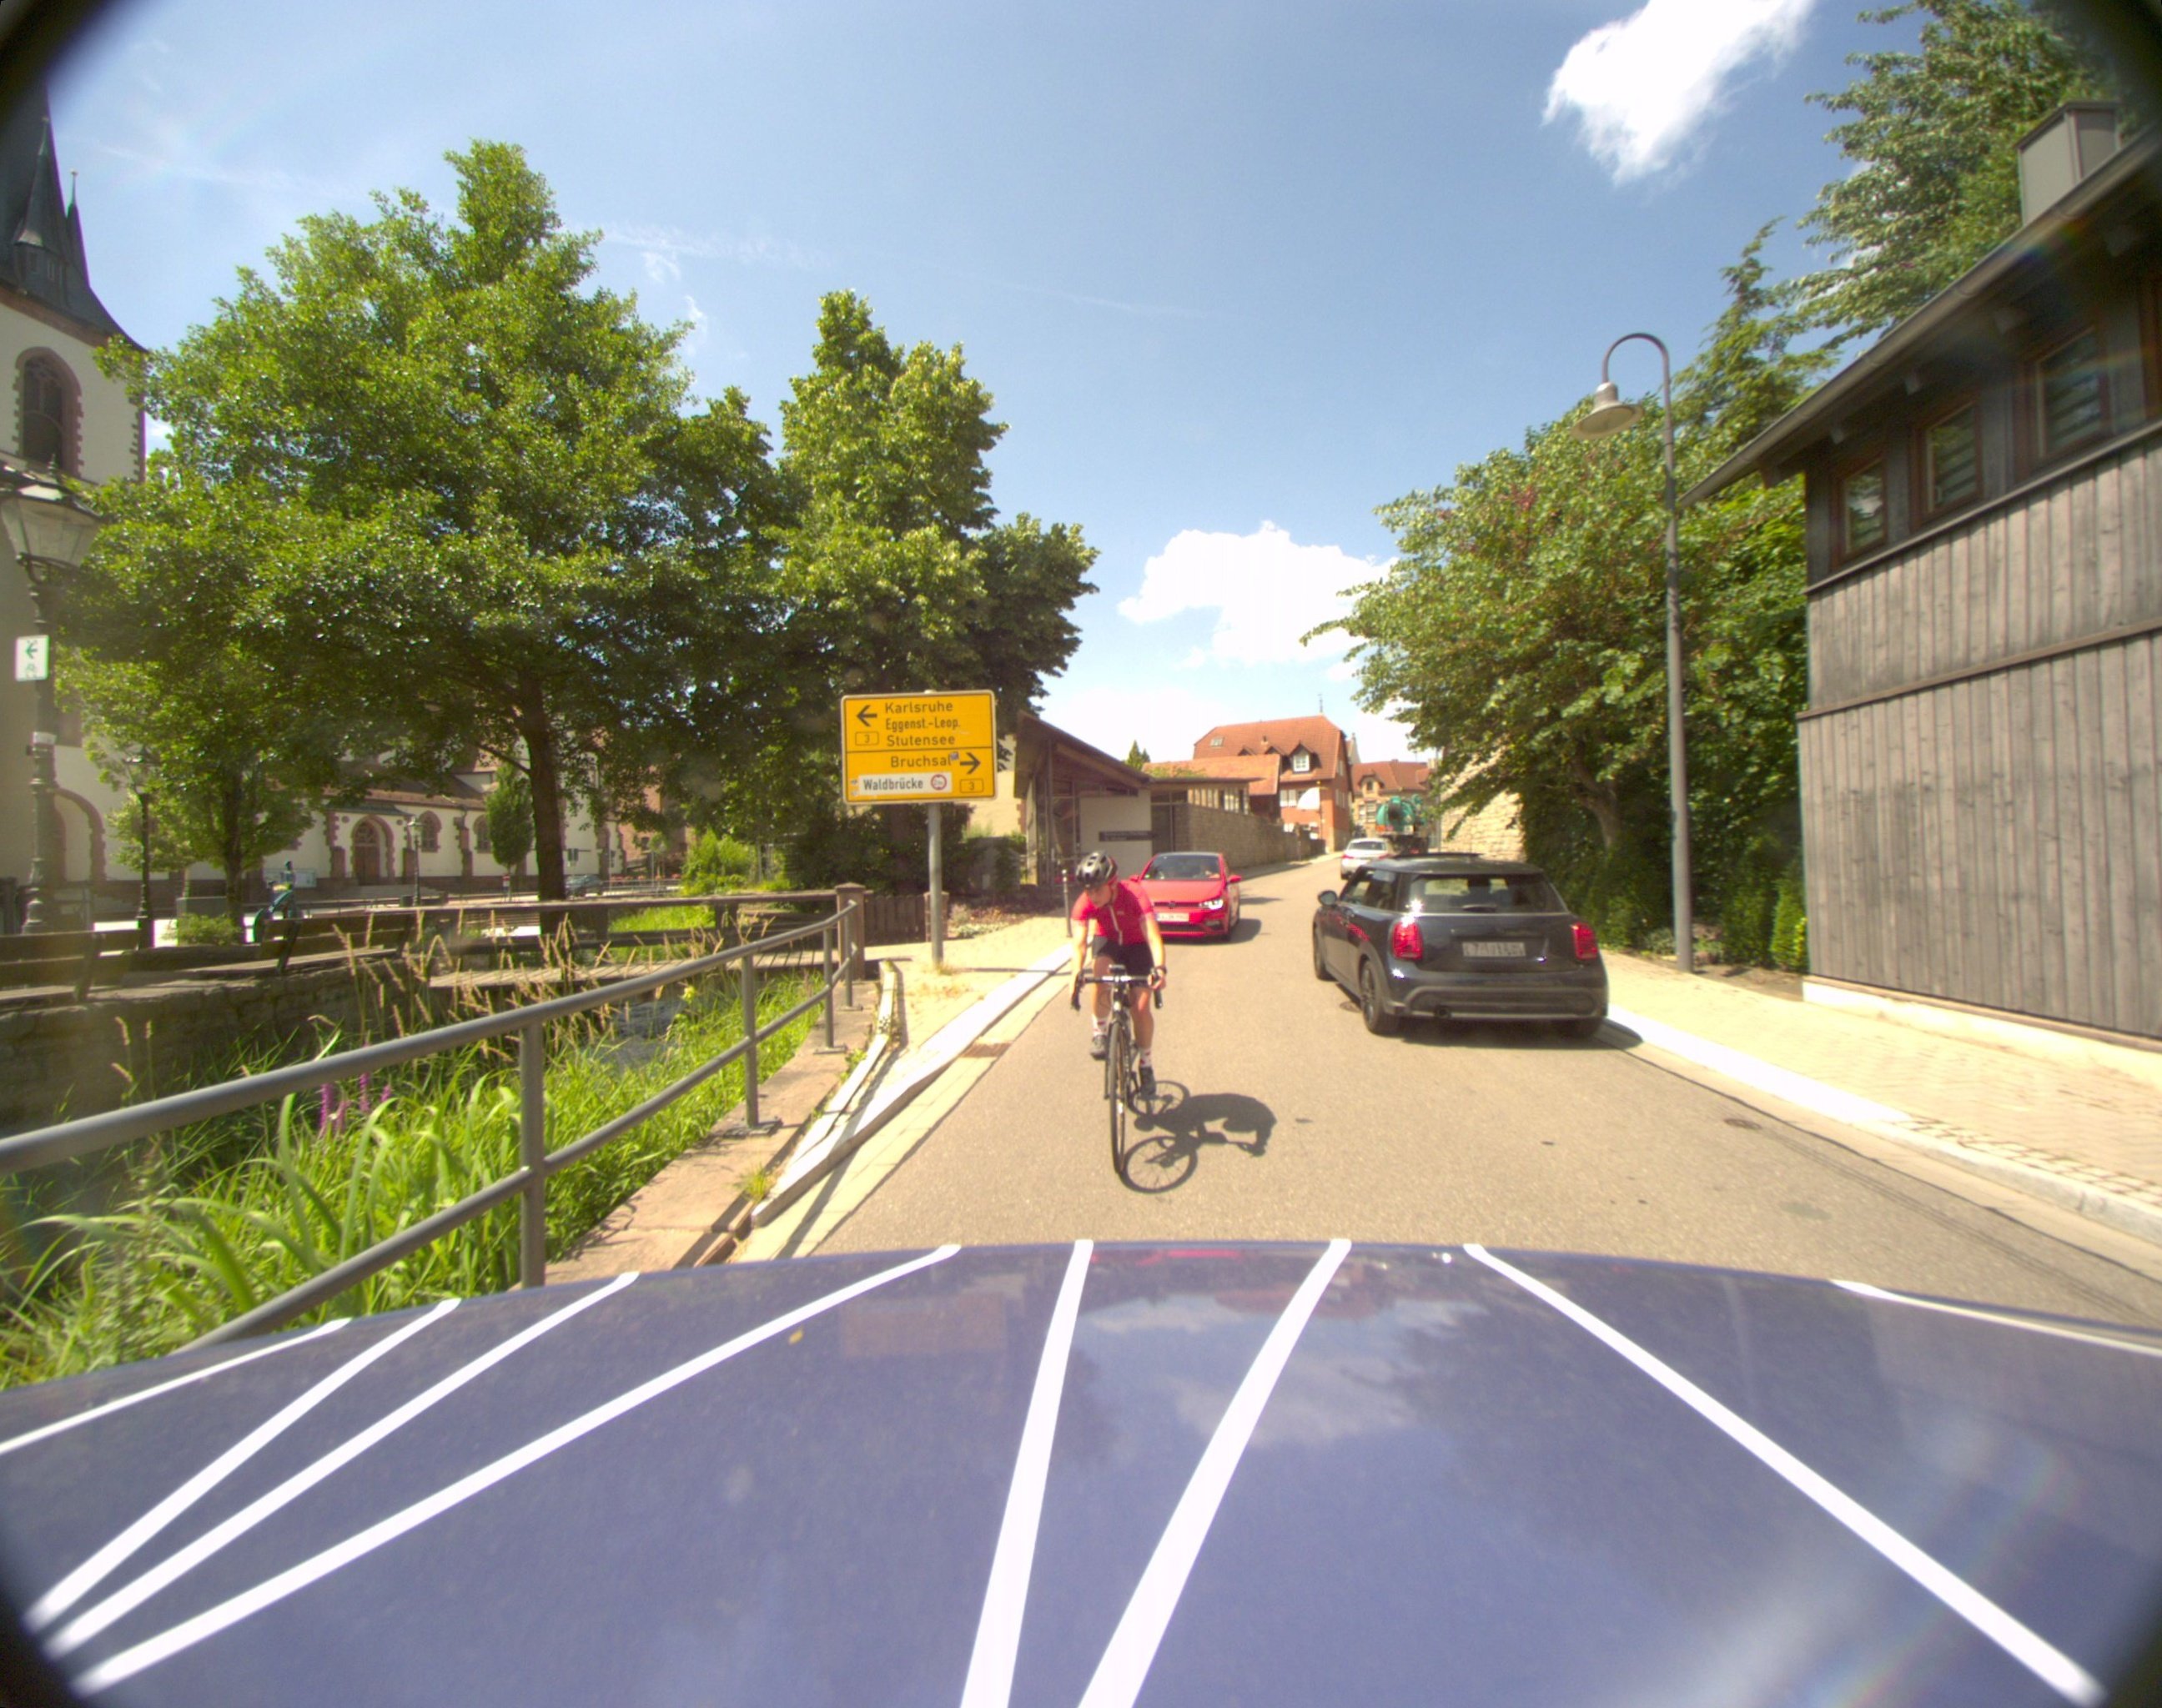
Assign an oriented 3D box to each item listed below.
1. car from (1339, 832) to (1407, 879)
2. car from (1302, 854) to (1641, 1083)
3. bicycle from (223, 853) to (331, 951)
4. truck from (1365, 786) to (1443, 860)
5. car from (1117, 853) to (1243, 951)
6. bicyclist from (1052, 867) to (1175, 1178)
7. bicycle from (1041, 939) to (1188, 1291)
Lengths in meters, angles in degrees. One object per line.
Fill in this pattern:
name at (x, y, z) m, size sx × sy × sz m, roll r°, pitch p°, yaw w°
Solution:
car at (10.704, -0.011, 27.679) m, size 1.896 × 1.492 × 4.620 m, roll 0°, pitch 2°, yaw 26°
car at (3.336, 0.792, 7.516) m, size 1.702 × 1.457 × 4.437 m, roll 0°, pitch 2°, yaw 9°
bicycle at (-18.142, 1.022, 17.239) m, size 0.784 × 2.002 × 2.661 m, roll -5°, pitch 2°, yaw -29°
truck at (18.048, -1.746, 42.057) m, size 2.413 × 3.638 × 9.583 m, roll 1°, pitch 3°, yaw 32°
car at (1.835, 0.719, 13.163) m, size 1.667 × 1.344 × 3.497 m, roll 0°, pitch 2°, yaw 16°
bicyclist at (0.158, 0.779, 3.840) m, size 0.532 × 1.396 × 0.755 m, roll -1°, pitch 1°, yaw 1°
bicycle at (0.152, 1.099, 3.877) m, size 0.531 × 1.070 × 2.054 m, roll -1°, pitch 1°, yaw 1°
